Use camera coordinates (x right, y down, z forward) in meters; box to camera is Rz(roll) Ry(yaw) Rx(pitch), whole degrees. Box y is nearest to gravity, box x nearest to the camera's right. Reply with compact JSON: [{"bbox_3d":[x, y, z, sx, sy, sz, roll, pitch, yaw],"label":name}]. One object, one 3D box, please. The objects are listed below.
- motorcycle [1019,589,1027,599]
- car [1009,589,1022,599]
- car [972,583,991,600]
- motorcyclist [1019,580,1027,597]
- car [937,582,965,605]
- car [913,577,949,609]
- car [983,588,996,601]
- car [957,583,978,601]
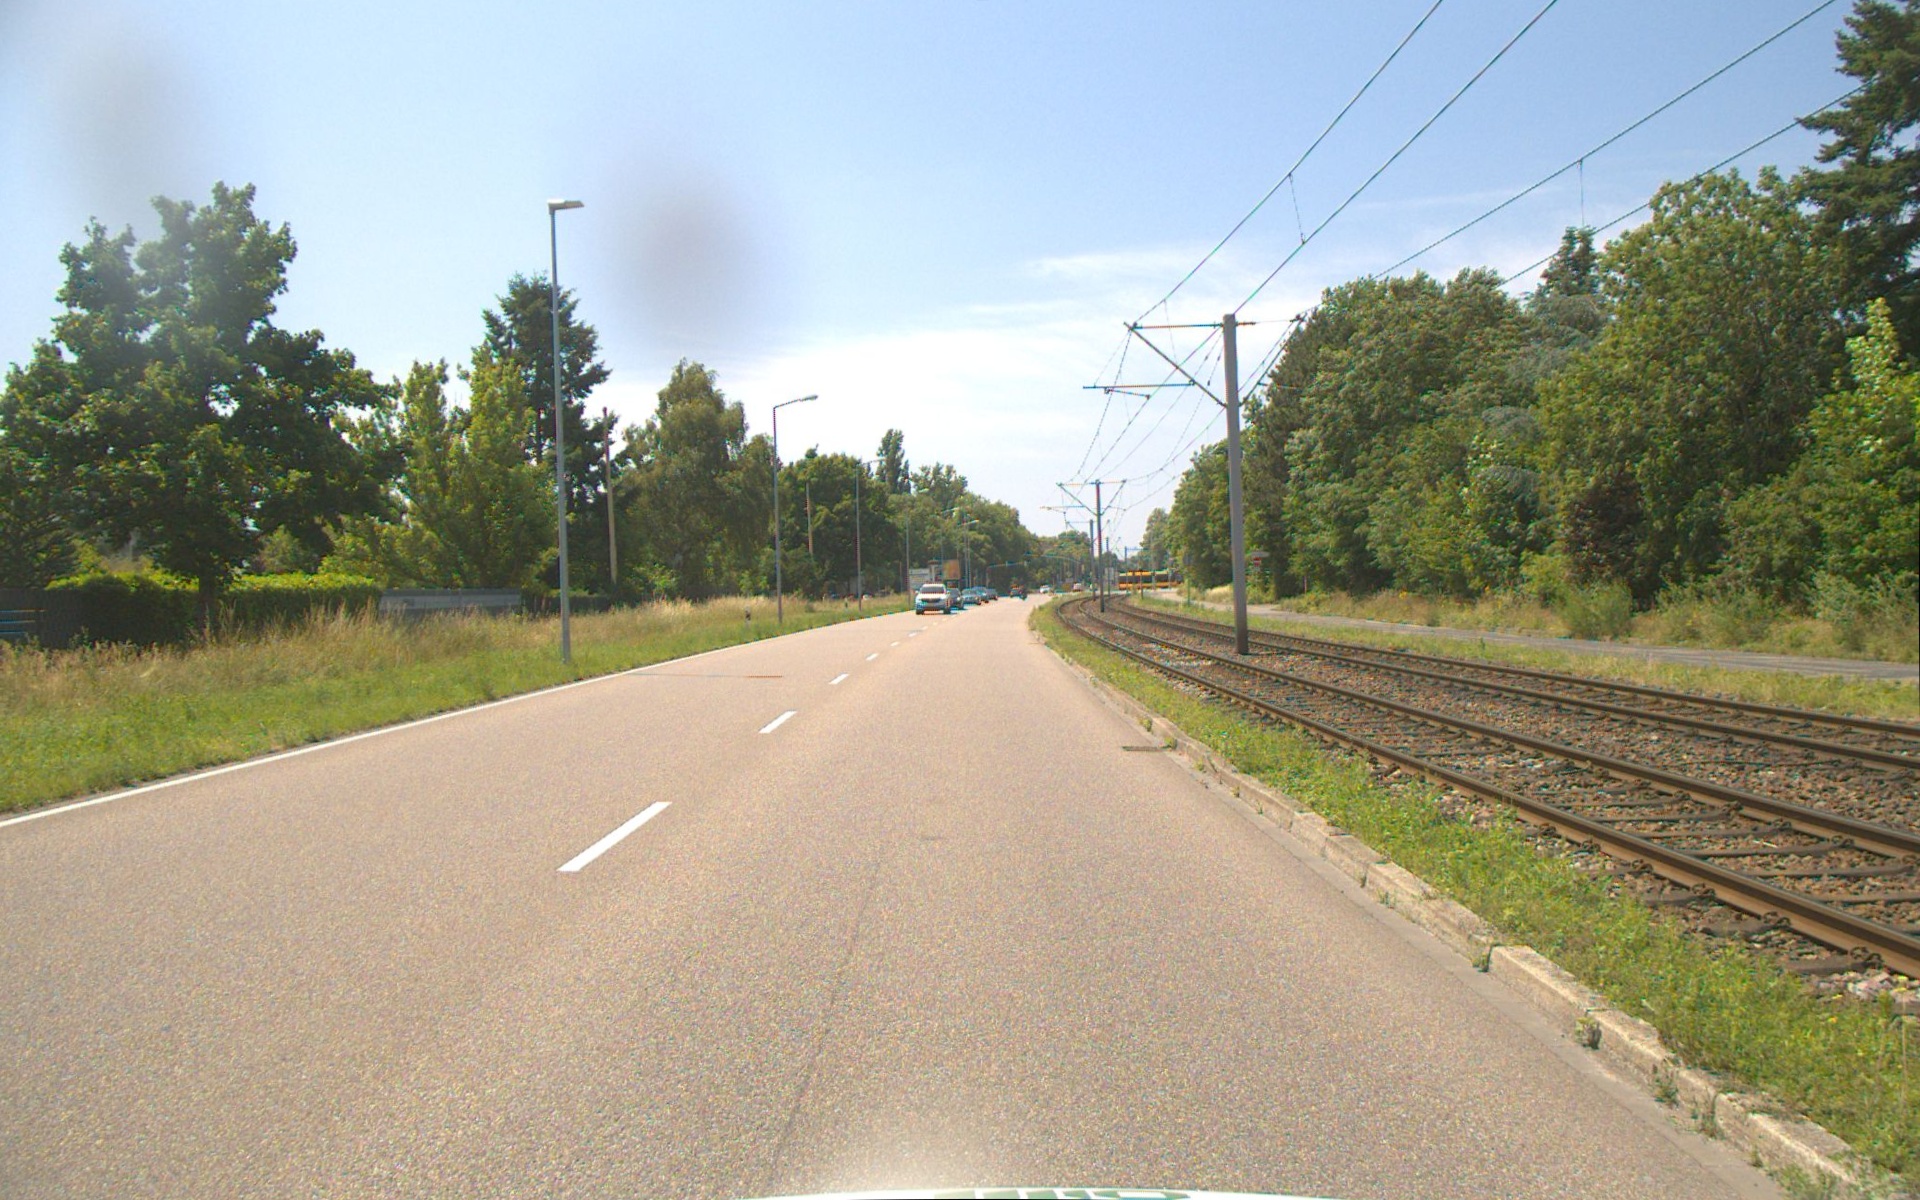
[{"bbox_3d":[7.082,-0.655,185.963,0.950,1.137,2.734,-1,0,3],"label":"motorcycle"},{"bbox_3d":[8.304,-0.952,248.139,1.593,1.419,4.366,-1,0,5],"label":"car"},{"bbox_3d":[2.110,-0.796,160.153,1.780,1.565,4.364,-1,0,1],"label":"car"},{"bbox_3d":[7.066,-1.271,185.978,0.873,1.938,1.016,-1,0,3],"label":"motorcyclist"},{"bbox_3d":[-0.602,-0.455,115.215,1.780,1.555,4.364,-1,0,1],"label":"car"},{"bbox_3d":[-1.691,-0.409,98.561,1.895,1.827,4.713,-1,0,1],"label":"car"},{"bbox_3d":[3.637,-0.672,202.803,1.593,1.516,4.364,-1,0,1],"label":"car"},{"bbox_3d":[0.671,-0.691,143.863,1.780,1.519,4.364,-1,0,1],"label":"car"}]
